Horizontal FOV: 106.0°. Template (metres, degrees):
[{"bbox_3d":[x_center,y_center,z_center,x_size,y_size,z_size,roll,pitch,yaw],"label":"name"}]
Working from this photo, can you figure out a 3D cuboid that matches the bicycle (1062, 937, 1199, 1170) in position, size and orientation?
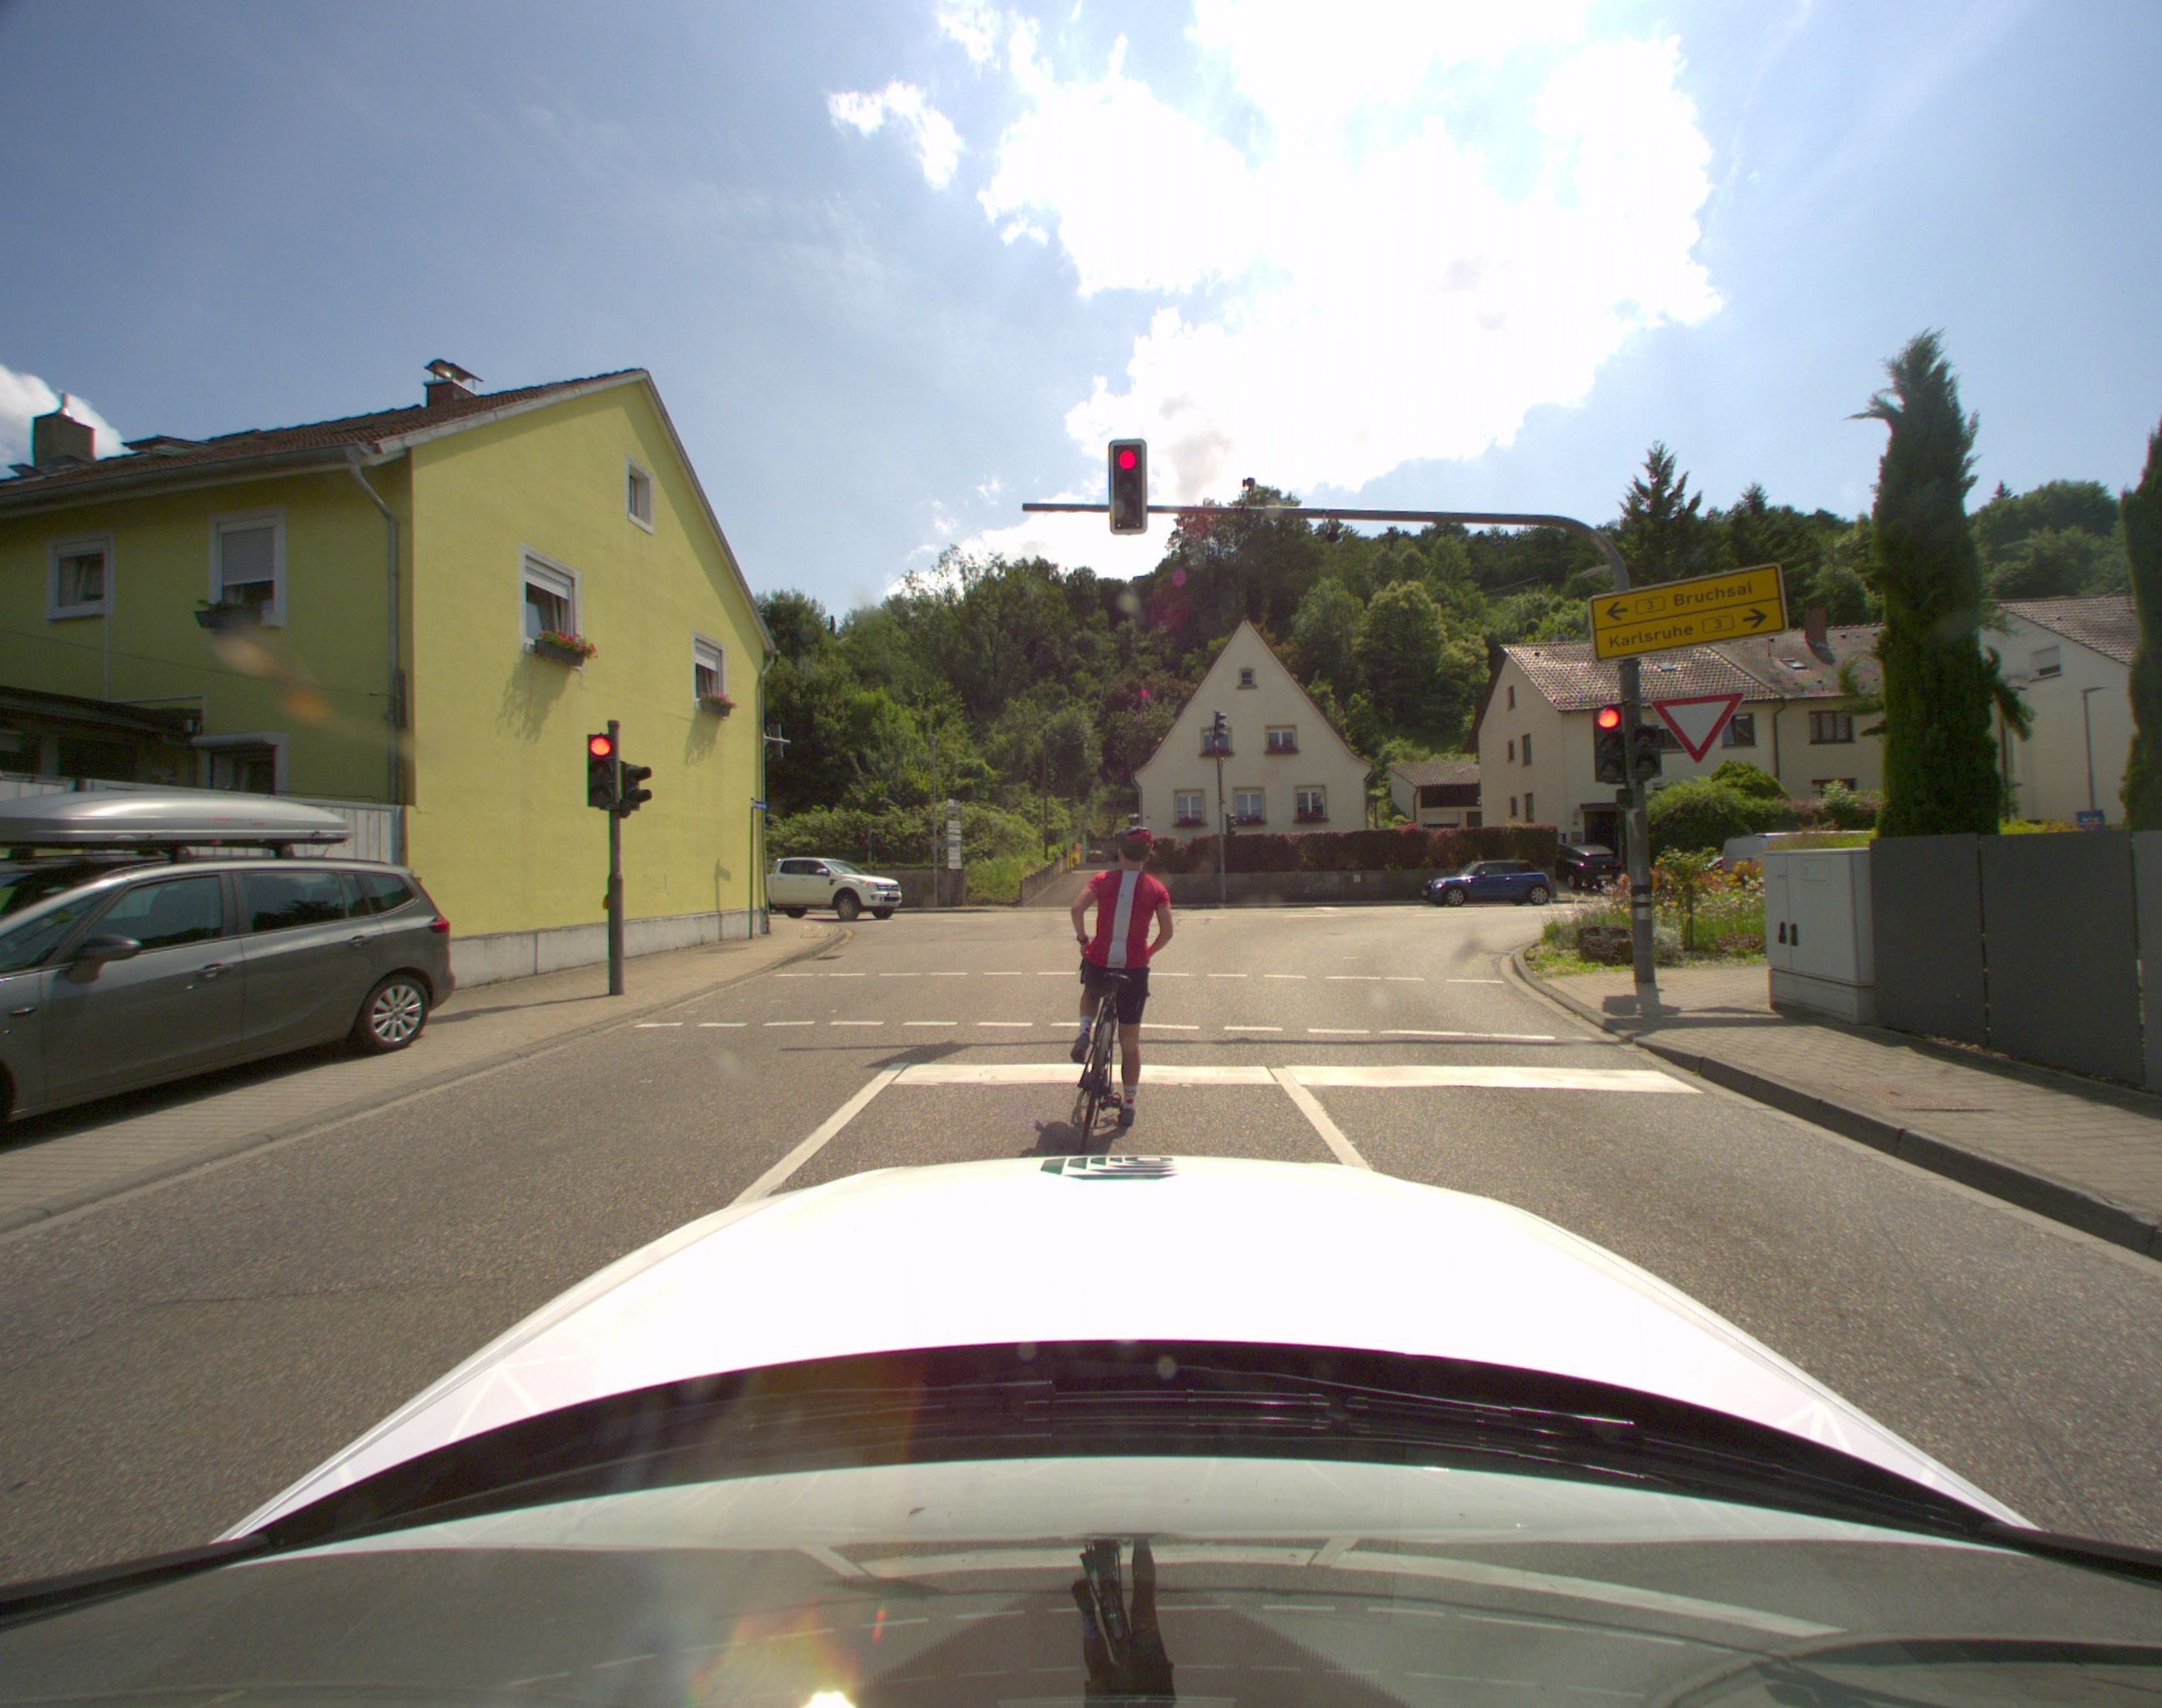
[{"bbox_3d":[0.210,1.004,4.591,0.628,0.905,1.656,0,0,-2],"label":"bicycle"}]

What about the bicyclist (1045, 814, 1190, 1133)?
[{"bbox_3d":[0.179,0.625,4.701,0.759,1.664,0.868,0,-1,-2],"label":"bicyclist"}]

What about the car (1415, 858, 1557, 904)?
[{"bbox_3d":[12.533,0.869,25.394,3.590,1.363,1.647,-1,-3,6],"label":"car"}]

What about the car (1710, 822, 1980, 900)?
[{"bbox_3d":[19.557,0.218,21.069,4.849,1.822,2.003,-1,-3,5],"label":"car"}]

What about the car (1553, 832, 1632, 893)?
[{"bbox_3d":[18.862,0.272,30.186,1.780,1.388,3.709,-1,13,21],"label":"car"}]

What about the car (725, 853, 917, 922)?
[{"bbox_3d":[-7.671,0.994,24.019,5.251,1.775,1.989,-3,0,21],"label":"car"}]

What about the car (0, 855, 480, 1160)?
[{"bbox_3d":[-6.744,0.825,5.362,1.986,1.635,4.632,0,0,2],"label":"car"}]
